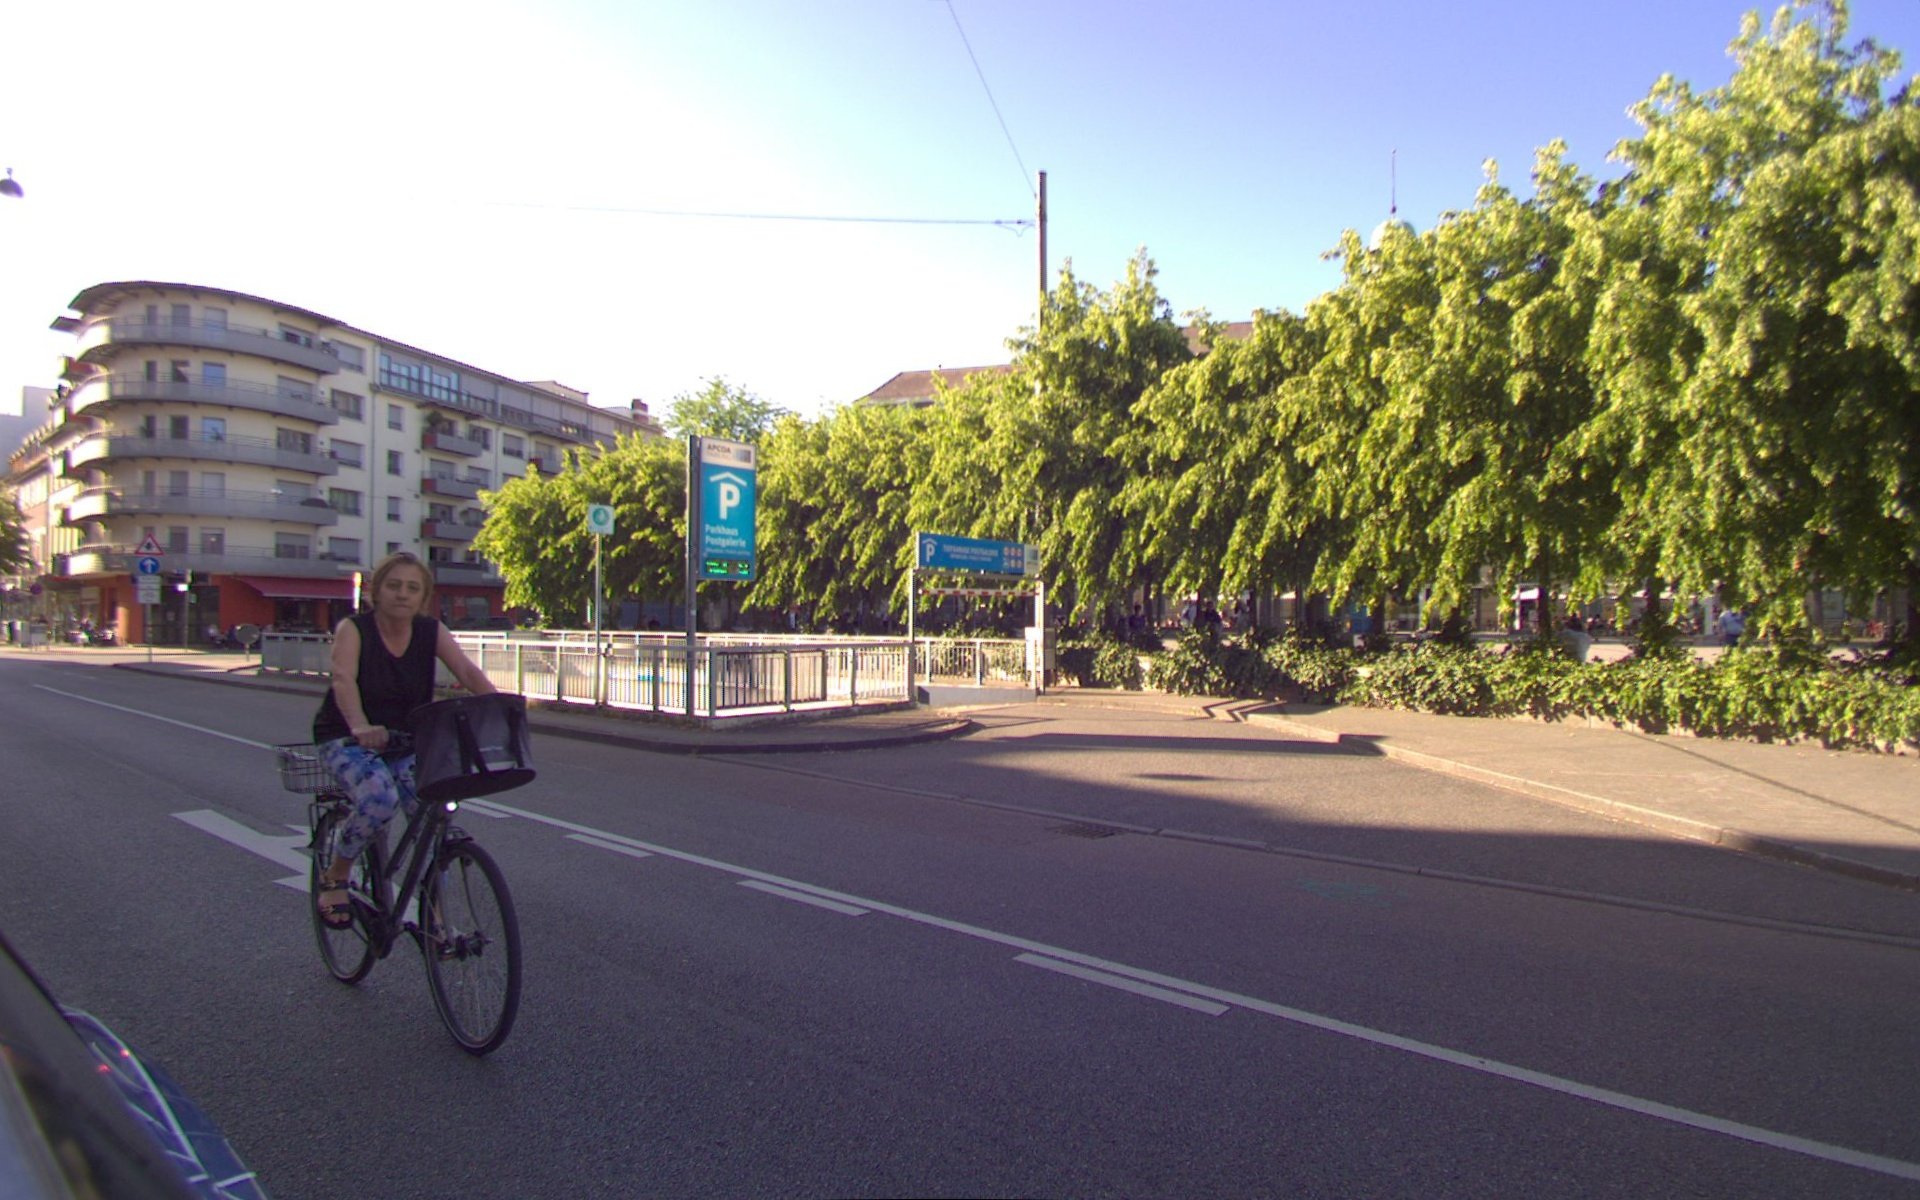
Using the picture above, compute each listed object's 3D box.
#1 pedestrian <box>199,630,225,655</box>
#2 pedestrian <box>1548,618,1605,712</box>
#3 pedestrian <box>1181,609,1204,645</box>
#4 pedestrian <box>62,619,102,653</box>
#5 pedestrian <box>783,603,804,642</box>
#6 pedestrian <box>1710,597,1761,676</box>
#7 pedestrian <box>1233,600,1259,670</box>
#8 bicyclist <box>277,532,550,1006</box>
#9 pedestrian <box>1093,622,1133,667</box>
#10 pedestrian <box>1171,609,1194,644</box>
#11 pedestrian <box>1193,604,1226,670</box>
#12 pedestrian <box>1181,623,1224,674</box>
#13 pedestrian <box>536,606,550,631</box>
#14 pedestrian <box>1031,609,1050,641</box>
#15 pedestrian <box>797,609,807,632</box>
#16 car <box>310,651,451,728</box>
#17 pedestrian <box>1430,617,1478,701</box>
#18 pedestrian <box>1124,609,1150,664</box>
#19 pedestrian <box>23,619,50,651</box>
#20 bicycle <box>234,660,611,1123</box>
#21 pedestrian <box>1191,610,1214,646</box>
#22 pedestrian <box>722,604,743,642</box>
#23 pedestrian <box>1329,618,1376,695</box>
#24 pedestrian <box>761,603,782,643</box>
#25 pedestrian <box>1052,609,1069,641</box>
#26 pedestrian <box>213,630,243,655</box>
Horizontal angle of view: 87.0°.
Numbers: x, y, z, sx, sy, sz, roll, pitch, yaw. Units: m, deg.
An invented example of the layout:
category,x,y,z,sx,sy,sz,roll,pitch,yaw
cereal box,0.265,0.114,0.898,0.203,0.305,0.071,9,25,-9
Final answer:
category,x,y,z,sx,sy,sz,roll,pitch,yaw
pedestrian,-37.649,2.136,50.954,0.882,1.207,0.772,-1,0,30
pedestrian,9.796,1.014,16.101,0.611,1.447,0.588,-1,0,14
pedestrian,10.219,1.179,44.519,0.672,1.542,0.696,-1,0,-28
pedestrian,-43.606,1.776,50.252,1.266,1.678,1.129,-1,0,27
pedestrian,-8.202,1.100,49.790,0.681,1.857,0.741,-1,0,27
pedestrian,15.408,0.716,20.126,0.691,1.532,0.677,-1,0,30
pedestrian,6.650,0.800,23.505,0.522,1.594,0.680,-1,0,19
bicyclist,-2.037,0.535,3.744,0.958,1.495,0.599,-1,0,42
pedestrian,3.815,1.094,25.256,0.682,1.079,0.686,-1,0,-29
pedestrian,9.928,1.195,45.184,0.672,1.535,0.696,-1,0,-24
pedestrian,5.868,0.852,23.786,0.688,1.511,0.680,-1,0,19
pedestrian,5.393,1.074,22.504,0.682,1.079,0.686,-1,0,-13
pedestrian,-31.409,1.399,76.145,0.684,1.857,0.737,-1,0,41
pedestrian,3.567,1.118,44.865,0.752,1.385,0.684,-1,0,1
pedestrian,-10.725,1.385,68.702,0.489,1.591,0.491,-1,0,16
car,-14.452,2.148,25.147,4.246,1.542,1.655,1,0,40
pedestrian,8.740,1.027,17.910,0.621,1.447,0.645,-1,0,39
pedestrian,4.543,0.932,25.942,0.545,1.385,0.680,-1,0,19
pedestrian,-52.698,2.006,57.744,0.962,1.762,1.047,-1,0,41
bicycle,-2.111,0.890,3.816,2.000,1.232,0.621,-1,0,43
pedestrian,10.498,1.187,43.857,0.672,1.536,0.696,-1,0,-27
pedestrian,-11.310,1.144,50.323,0.679,1.857,0.743,-1,0,19
pedestrian,7.513,1.062,19.357,0.622,1.409,0.644,-1,0,44
pedestrian,-9.110,1.102,48.856,0.681,1.877,0.741,-1,0,27
pedestrian,4.462,1.107,44.828,0.684,1.385,0.684,-1,0,1
pedestrian,-36.829,2.125,50.909,0.827,1.207,0.931,-1,0,16
